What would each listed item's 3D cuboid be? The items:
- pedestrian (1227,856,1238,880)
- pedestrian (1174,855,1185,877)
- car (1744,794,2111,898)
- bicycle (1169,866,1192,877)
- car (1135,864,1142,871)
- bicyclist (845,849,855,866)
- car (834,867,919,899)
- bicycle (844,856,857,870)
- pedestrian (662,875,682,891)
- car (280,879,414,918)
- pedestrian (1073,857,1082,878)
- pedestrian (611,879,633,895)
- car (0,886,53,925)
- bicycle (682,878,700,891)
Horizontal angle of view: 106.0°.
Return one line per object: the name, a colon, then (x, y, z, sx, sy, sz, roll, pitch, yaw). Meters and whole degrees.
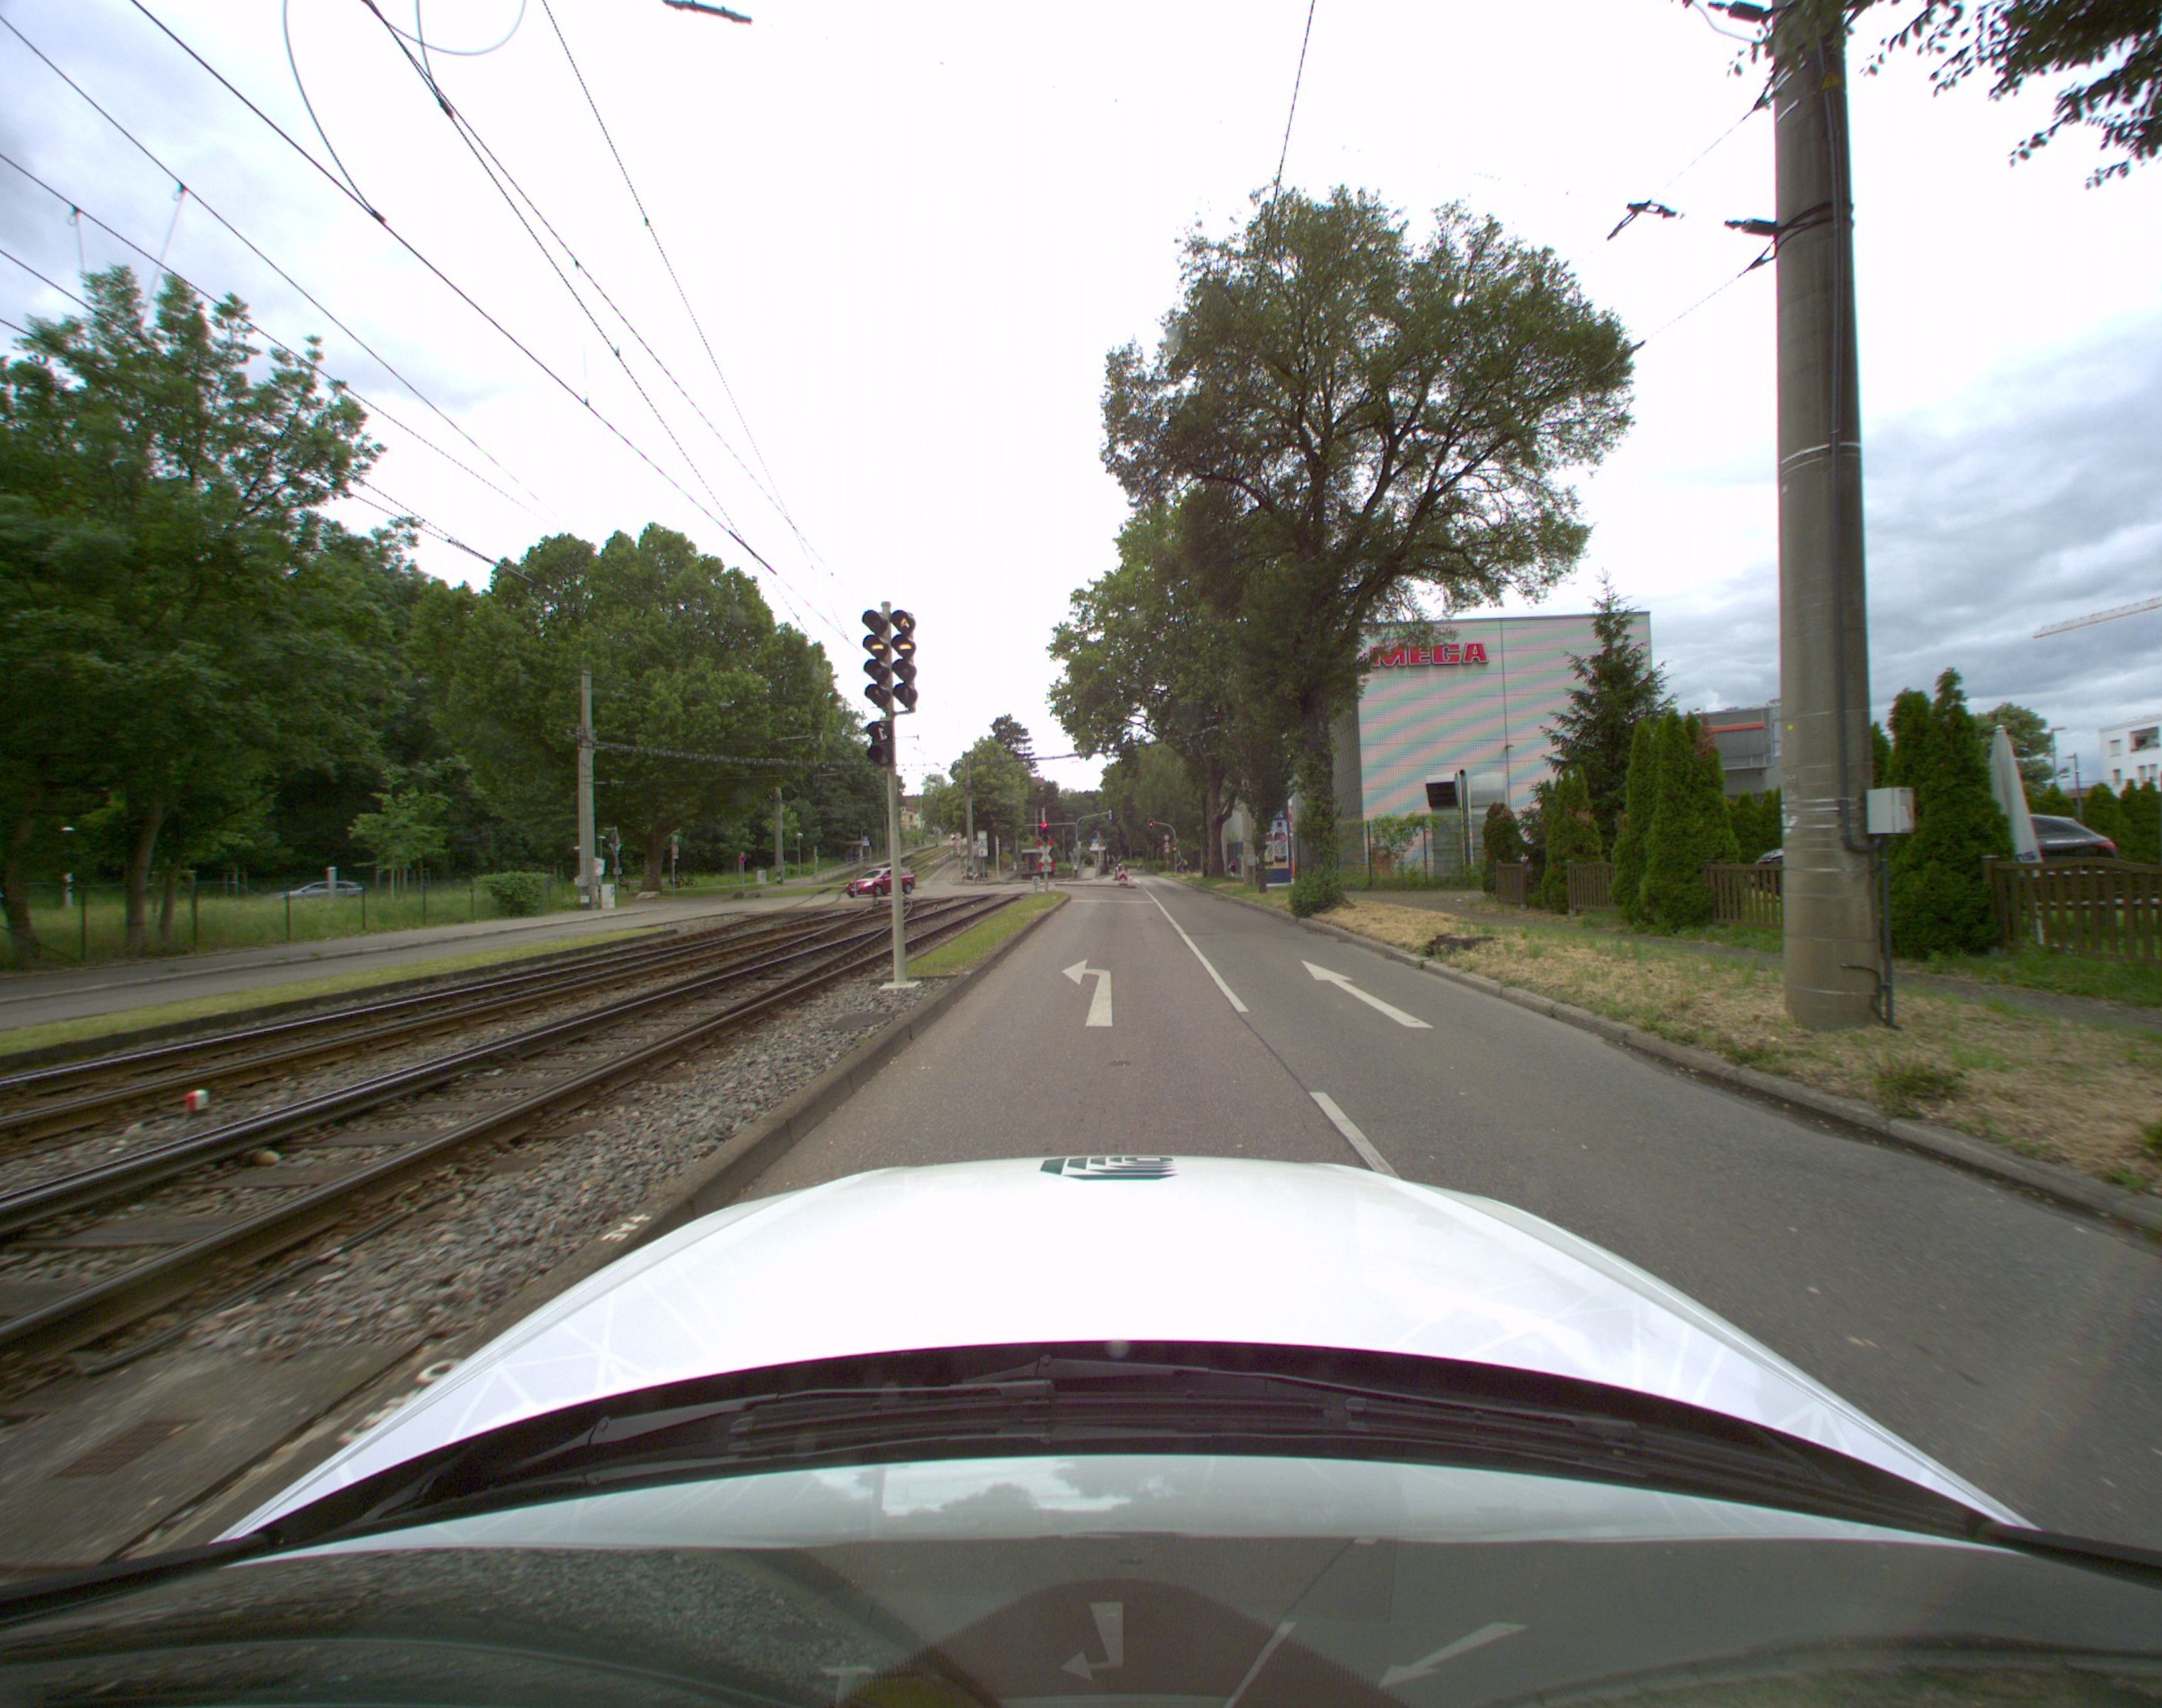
pedestrian: (10.226, 0.943, 54.904, 0.662, 1.553, 0.936, -2, -1, 8)
pedestrian: (9.193, 1.147, 75.748, 0.926, 2.014, 0.670, -2, -1, 8)
car: (15.571, -0.091, 15.367, 4.323, 1.706, 2.011, -2, -1, 23)
bicycle: (9.299, 1.636, 75.711, 2.062, 1.007, 0.669, -2, -1, 8)
car: (15.867, 3.616, 225.590, 1.985, 1.816, 4.004, -2, 0, 3)
bicyclist: (-25.631, 0.428, 90.459, 0.820, 1.849, 1.050, -2, 2, -5)
car: (-10.818, 1.506, 43.431, 1.975, 1.515, 4.526, -1, -1, 25)
bicycle: (-25.621, 1.006, 90.619, 0.823, 1.343, 2.991, -2, 2, -6)
pedestrian: (-31.878, 2.271, 63.463, 1.102, 1.268, 1.063, -1, -2, 40)
car: (-41.088, 2.440, 45.725, 2.325, 1.889, 5.115, -2, -1, 30)
pedestrian: (-0.325, 1.176, 72.446, 0.766, 1.852, 0.910, -2, -1, -1)
pedestrian: (-33.532, 2.403, 59.508, 0.894, 1.096, 1.088, -1, -2, 38)
car: (-46.707, 2.206, 33.949, 1.975, 1.582, 4.429, -2, -1, 26)
bicycle: (-30.872, 2.407, 64.412, 1.632, 1.012, 0.679, -1, -2, 40)
